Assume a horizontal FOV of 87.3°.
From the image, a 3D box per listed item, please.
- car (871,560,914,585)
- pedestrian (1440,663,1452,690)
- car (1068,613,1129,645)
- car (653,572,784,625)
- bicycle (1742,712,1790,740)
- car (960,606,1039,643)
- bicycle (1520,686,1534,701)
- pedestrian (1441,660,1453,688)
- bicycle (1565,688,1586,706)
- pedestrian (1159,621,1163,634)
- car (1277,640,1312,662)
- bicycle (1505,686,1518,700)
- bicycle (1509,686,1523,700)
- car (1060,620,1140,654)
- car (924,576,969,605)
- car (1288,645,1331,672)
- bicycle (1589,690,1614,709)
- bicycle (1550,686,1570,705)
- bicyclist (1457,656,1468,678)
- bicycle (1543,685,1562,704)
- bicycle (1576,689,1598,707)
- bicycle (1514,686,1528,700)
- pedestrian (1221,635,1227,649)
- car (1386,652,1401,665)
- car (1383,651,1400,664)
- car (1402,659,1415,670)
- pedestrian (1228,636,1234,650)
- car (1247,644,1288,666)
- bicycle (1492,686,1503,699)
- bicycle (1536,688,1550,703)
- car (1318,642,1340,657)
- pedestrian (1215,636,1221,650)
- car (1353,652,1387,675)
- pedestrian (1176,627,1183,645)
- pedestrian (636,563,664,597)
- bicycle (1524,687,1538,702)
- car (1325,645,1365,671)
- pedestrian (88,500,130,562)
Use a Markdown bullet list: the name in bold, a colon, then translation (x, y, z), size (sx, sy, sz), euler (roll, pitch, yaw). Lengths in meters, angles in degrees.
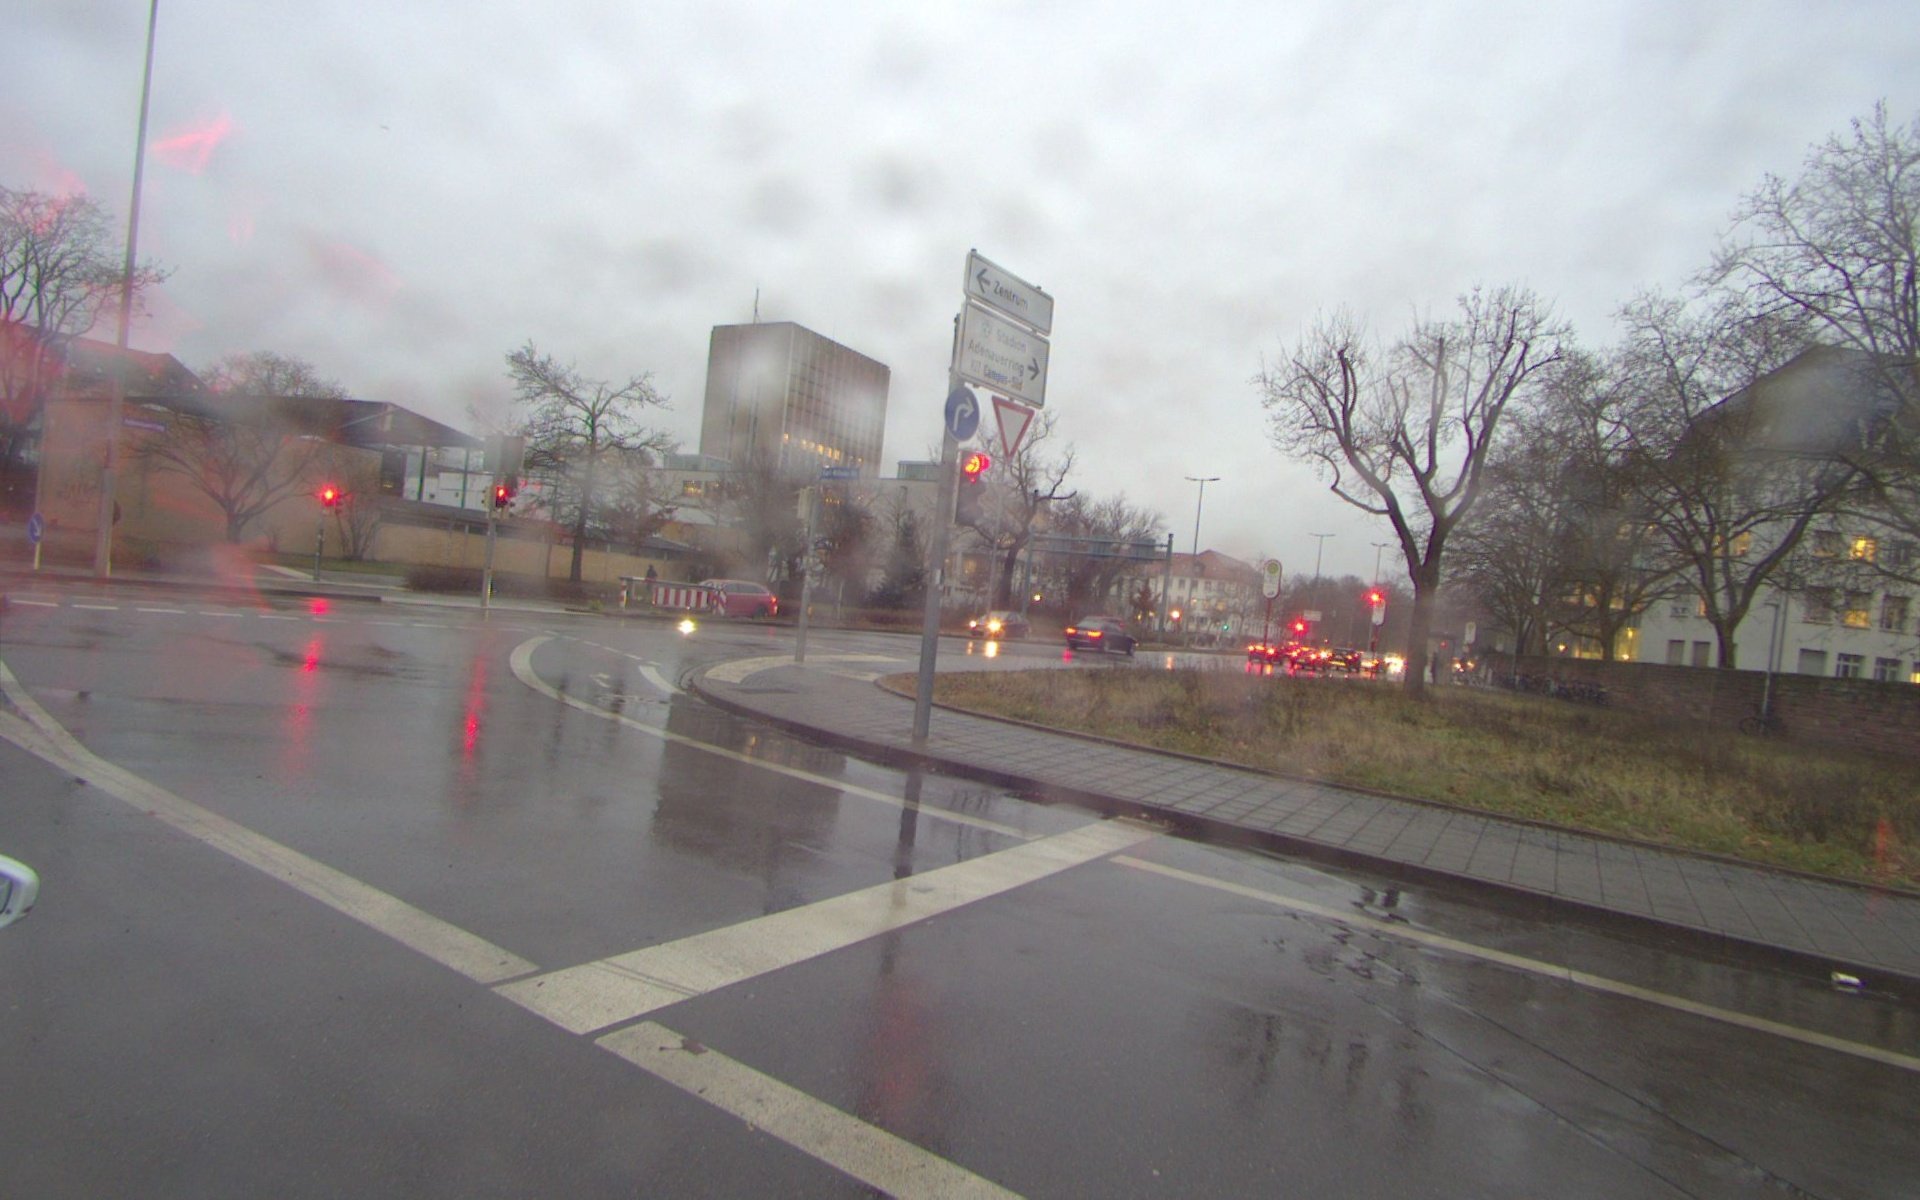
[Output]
- **car**: translation (-7.094, -2.911, 106.469), size (2.014, 2.102, 4.892), euler (6, 0, 30)
- **pedestrian**: translation (30.154, 4.737, 62.417), size (0.462, 1.623, 0.486), euler (7, -1, 25)
- **car**: translation (9.929, 2.068, 71.675), size (2.016, 1.903, 5.320), euler (6, 0, 35)
- **car**: translation (-8.633, -0.030, 36.309), size (1.784, 1.496, 4.411), euler (6, 0, 37)
- **bicycle**: translation (28.205, 4.403, 35.224), size (0.387, 0.834, 1.386), euler (7, -2, -4)
- **car**: translation (2.100, 1.282, 51.640), size (1.784, 1.496, 4.411), euler (6, 0, 36)
- **bicycle**: translation (33.325, 5.492, 59.144), size (0.387, 0.795, 1.532), euler (7, -2, 20)
- **pedestrian**: translation (37.484, 5.679, 77.390), size (0.557, 2.040, 0.595), euler (8, 2, 33)
- **bicycle**: translation (31.040, 4.880, 50.743), size (0.343, 0.848, 1.493), euler (7, -2, 13)
- **pedestrian**: translation (21.478, 2.972, 107.422), size (0.258, 1.364, 0.289), euler (8, 2, 31)
- **car**: translation (29.017, 4.429, 87.185), size (1.811, 1.602, 4.127), euler (6, 0, 31)
- **bicycle**: translation (34.852, 5.871, 63.625), size (0.387, 0.795, 1.532), euler (7, -2, 20)
- **bicycle**: translation (34.352, 5.746, 62.151), size (0.387, 0.795, 1.532), euler (7, -2, 20)
- **car**: translation (6.864, 1.838, 48.979), size (1.908, 1.318, 4.685), euler (6, 0, 34)
- **car**: translation (-1.364, -0.988, 103.184), size (2.014, 2.452, 5.326), euler (6, 0, 30)
- **car**: translation (24.380, 4.091, 70.135), size (1.811, 1.602, 4.126), euler (6, 0, 33)
- **bicycle**: translation (30.277, 4.677, 47.475), size (0.352, 0.795, 1.415), euler (7, -2, 8)
- **bicycle**: translation (31.359, 4.984, 52.555), size (0.387, 0.868, 1.532), euler (7, -2, 15)
- **bicyclist**: translation (40.726, 5.444, 81.580), size (0.599, 1.660, 0.453), euler (7, -1, 19)
- **bicycle**: translation (31.844, 5.079, 54.086), size (0.387, 0.927, 1.532), euler (7, -2, 15)
- **bicycle**: translation (30.551, 4.773, 48.999), size (0.387, 0.795, 1.533), euler (7, -2, 14)
- **bicycle**: translation (33.831, 5.619, 60.663), size (0.387, 0.795, 1.532), euler (7, -2, 20)
- **pedestrian**: translation (32.969, 5.258, 125.667), size (0.404, 1.713, 0.561), euler (7, 2, 28)
- **car**: translation (69.835, 9.394, 161.986), size (1.834, 1.783, 3.993), euler (7, 1, 27)
- **car**: translation (66.981, 8.962, 156.197), size (1.965, 1.783, 3.993), euler (7, 1, 27)
- **car**: translation (81.009, 11.659, 181.632), size (1.834, 1.783, 3.993), euler (7, 1, 27)
- **pedestrian**: translation (33.787, 5.356, 125.319), size (0.404, 1.713, 0.427), euler (7, 2, 28)
- **car**: translation (21.669, 3.860, 70.846), size (1.674, 1.318, 3.756), euler (6, 0, 34)
- **bicycle**: translation (36.392, 6.252, 68.106), size (0.387, 0.795, 1.532), euler (7, -2, 20)
- **bicycle**: translation (32.415, 5.295, 55.952), size (0.387, 0.795, 1.607), euler (7, -2, 22)
- **car**: translation (49.346, 6.632, 134.369), size (1.966, 1.783, 3.992), euler (7, 1, 29)
- **pedestrian**: translation (32.292, 5.439, 126.011), size (0.404, 1.713, 0.427), euler (7, 2, 28)
- **car**: translation (34.275, 5.293, 84.024), size (1.811, 1.710, 4.311), euler (6, 0, 32)
- **pedestrian**: translation (22.088, 3.594, 101.247), size (0.411, 1.725, 0.430), euler (8, 3, 44)
- **pedestrian**: translation (-15.996, -1.027, 51.883), size (0.783, 1.624, 0.960), euler (8, 2, 39)
- **bicycle**: translation (32.843, 5.409, 57.865), size (0.387, 0.795, 1.532), euler (7, -2, 19)
- **car**: translation (29.636, 4.466, 77.341), size (1.812, 1.710, 4.311), euler (6, -1, 34)
- **pedestrian**: translation (-31.289, -2.543, 36.972), size (0.882, 2.141, 0.882), euler (8, 2, 36)
